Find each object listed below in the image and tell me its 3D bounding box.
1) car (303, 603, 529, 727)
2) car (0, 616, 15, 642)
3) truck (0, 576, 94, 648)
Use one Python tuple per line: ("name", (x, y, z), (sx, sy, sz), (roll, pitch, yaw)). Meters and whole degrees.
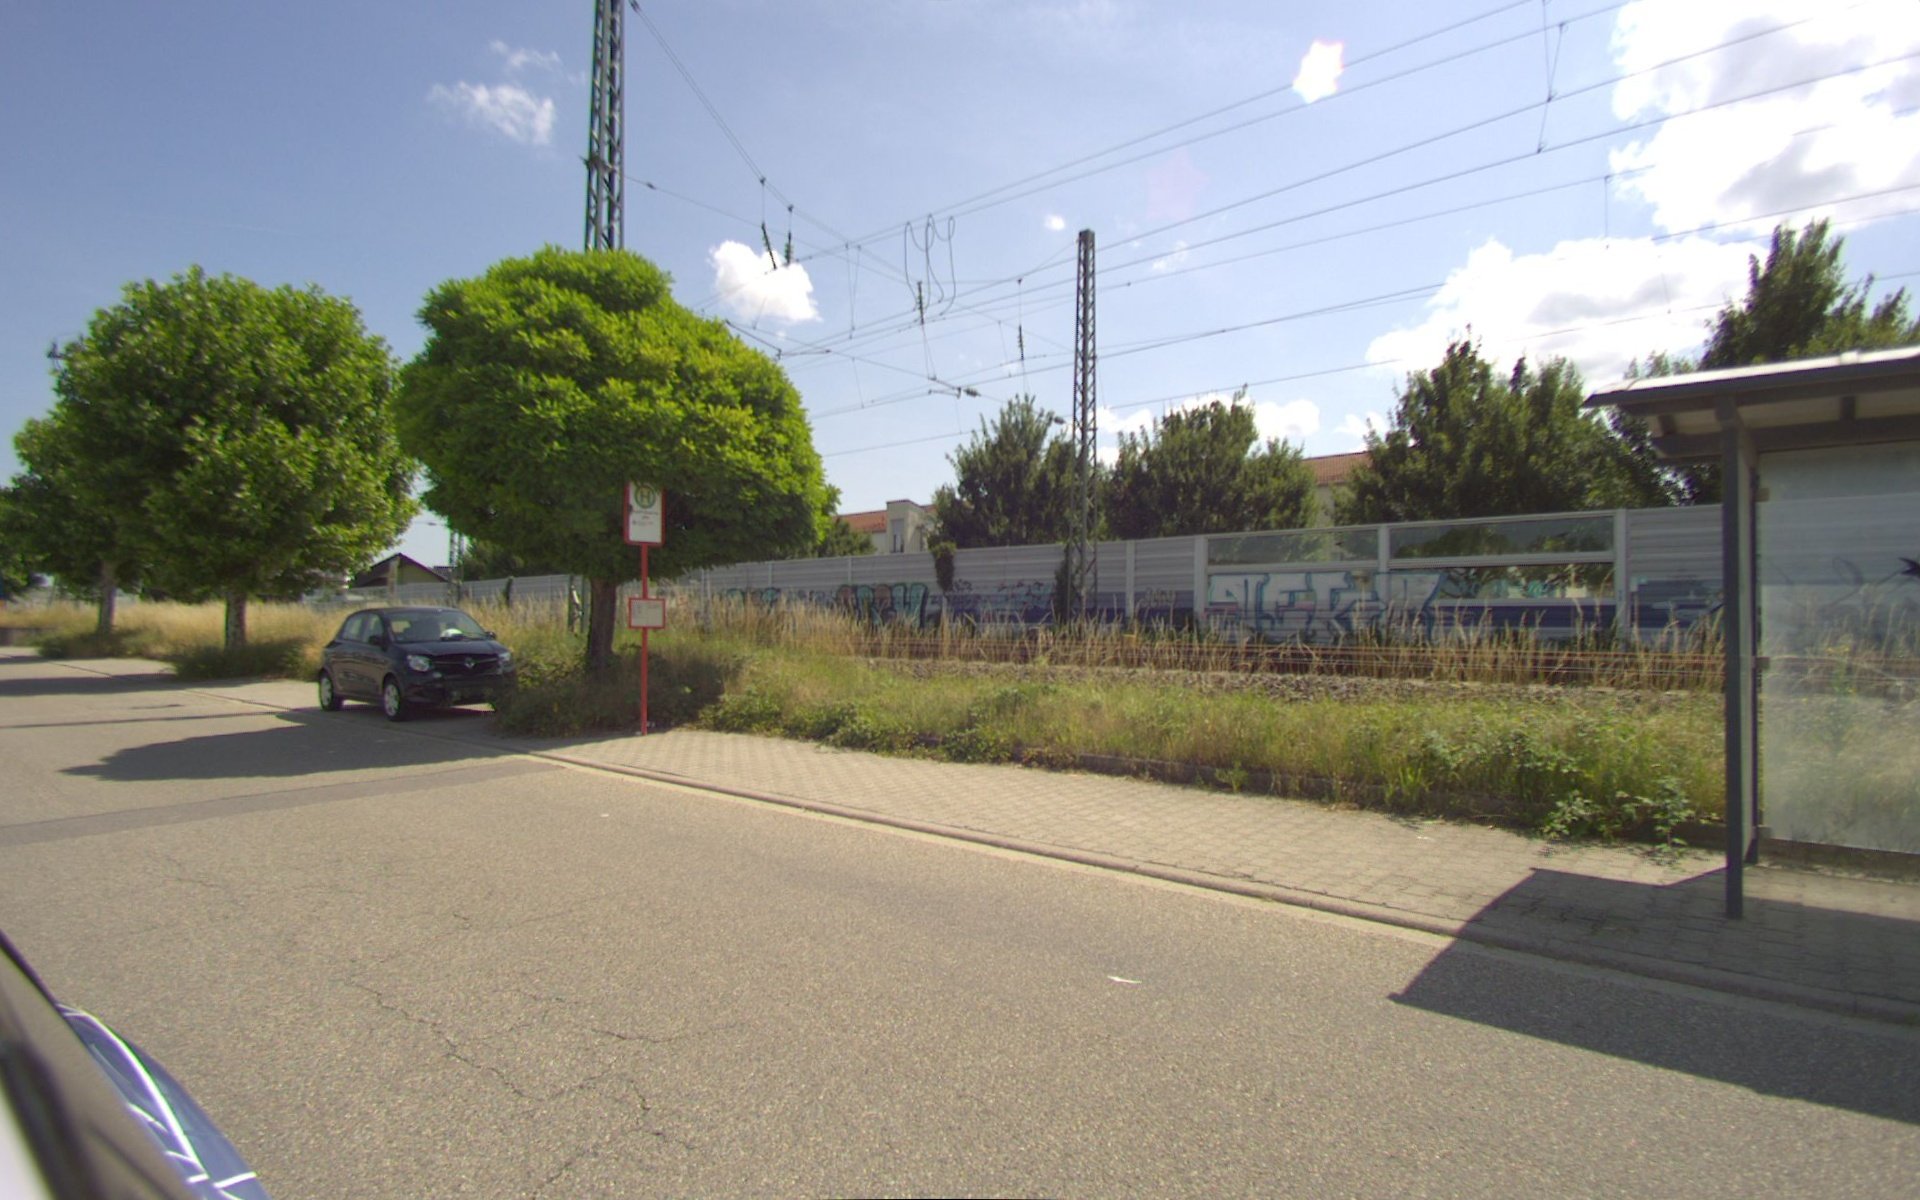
("car", (-8.071, 0.874, 14.917), (3.576, 1.608, 1.724), (-1, -1, 39))
("car", (-60.999, 1.764, 62.209), (1.847, 1.630, 3.935), (-1, -1, 36))
("truck", (-51.473, 0.667, 54.790), (2.659, 3.852, 6.553), (-1, -2, 36))
